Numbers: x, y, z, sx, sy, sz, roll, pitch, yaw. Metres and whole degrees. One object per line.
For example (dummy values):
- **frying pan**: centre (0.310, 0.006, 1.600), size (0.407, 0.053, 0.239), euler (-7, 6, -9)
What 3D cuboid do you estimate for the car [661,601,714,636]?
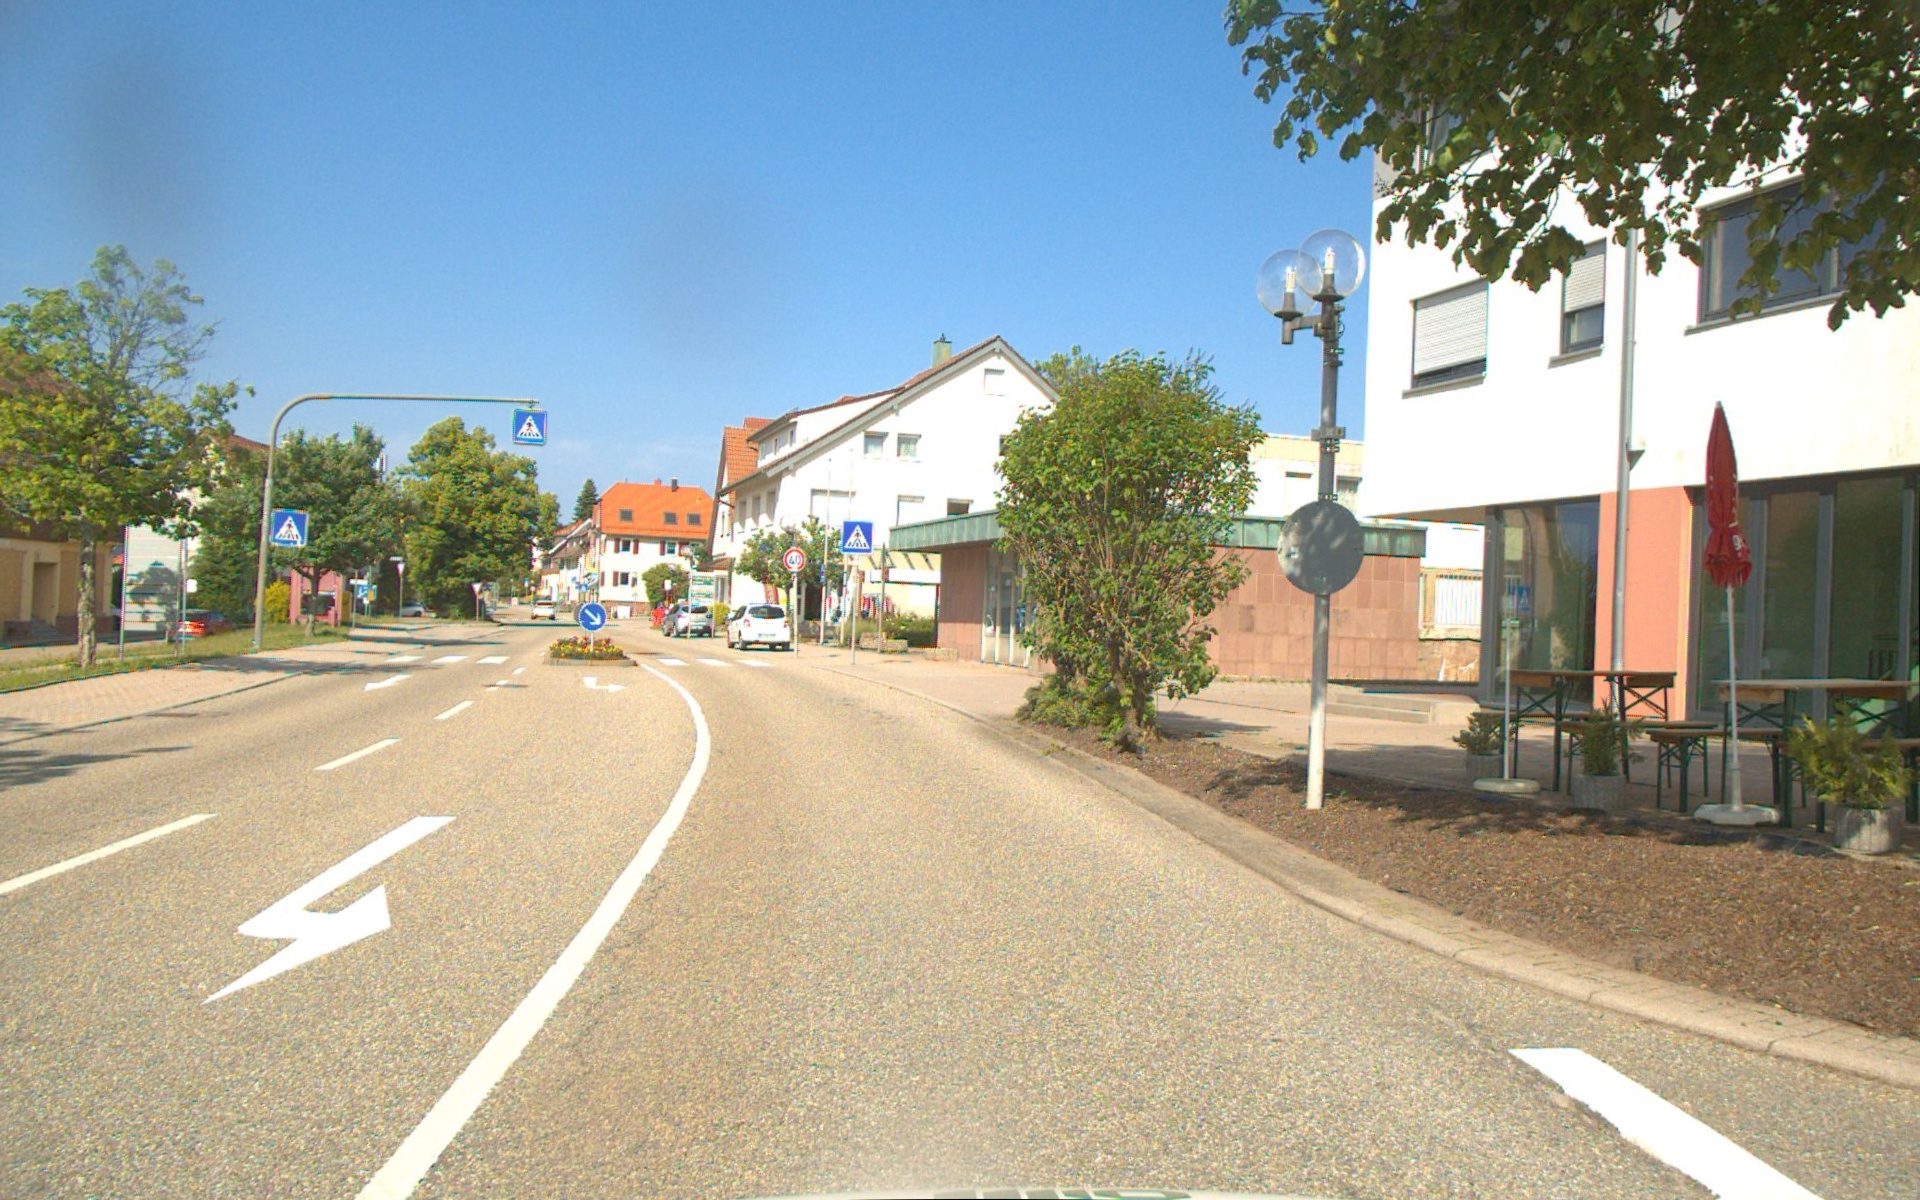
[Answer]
- **car**: centre (-11.753, 0.761, 71.083), size (1.611, 1.444, 3.913), euler (0, 0, -19)

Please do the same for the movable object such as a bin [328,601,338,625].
- **movable object such as a bin**: centre (-22.869, 0.472, 60.326), size (0.300, 0.852, 0.483), euler (1, -1, -19)

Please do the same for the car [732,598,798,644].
- **car**: centre (-6.354, 0.659, 53.569), size (1.730, 1.448, 3.621), euler (0, 0, -14)

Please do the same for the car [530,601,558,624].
- **car**: centre (-38.406, 1.179, 152.611), size (2.453, 2.049, 4.289), euler (-1, 0, -14)

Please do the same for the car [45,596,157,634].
- **car**: centre (-40.462, 0.712, 77.974), size (4.219, 1.538, 1.797), euler (3, -3, -7)

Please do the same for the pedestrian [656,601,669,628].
- **pedestrian**: centre (-20.007, 0.999, 111.216), size (0.785, 1.816, 0.977), euler (1, -1, -11)

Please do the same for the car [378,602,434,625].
- **car**: centre (-41.856, 1.031, 124.979), size (3.685, 1.480, 1.815), euler (-1, -6, -5)

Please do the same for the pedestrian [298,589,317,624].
- **pedestrian**: centre (-24.578, 0.242, 62.300), size (0.619, 1.275, 0.421), euler (0, 0, -19)

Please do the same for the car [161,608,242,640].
- **car**: centre (-32.318, 0.989, 70.575), size (1.686, 1.320, 3.999), euler (0, 0, -2)
